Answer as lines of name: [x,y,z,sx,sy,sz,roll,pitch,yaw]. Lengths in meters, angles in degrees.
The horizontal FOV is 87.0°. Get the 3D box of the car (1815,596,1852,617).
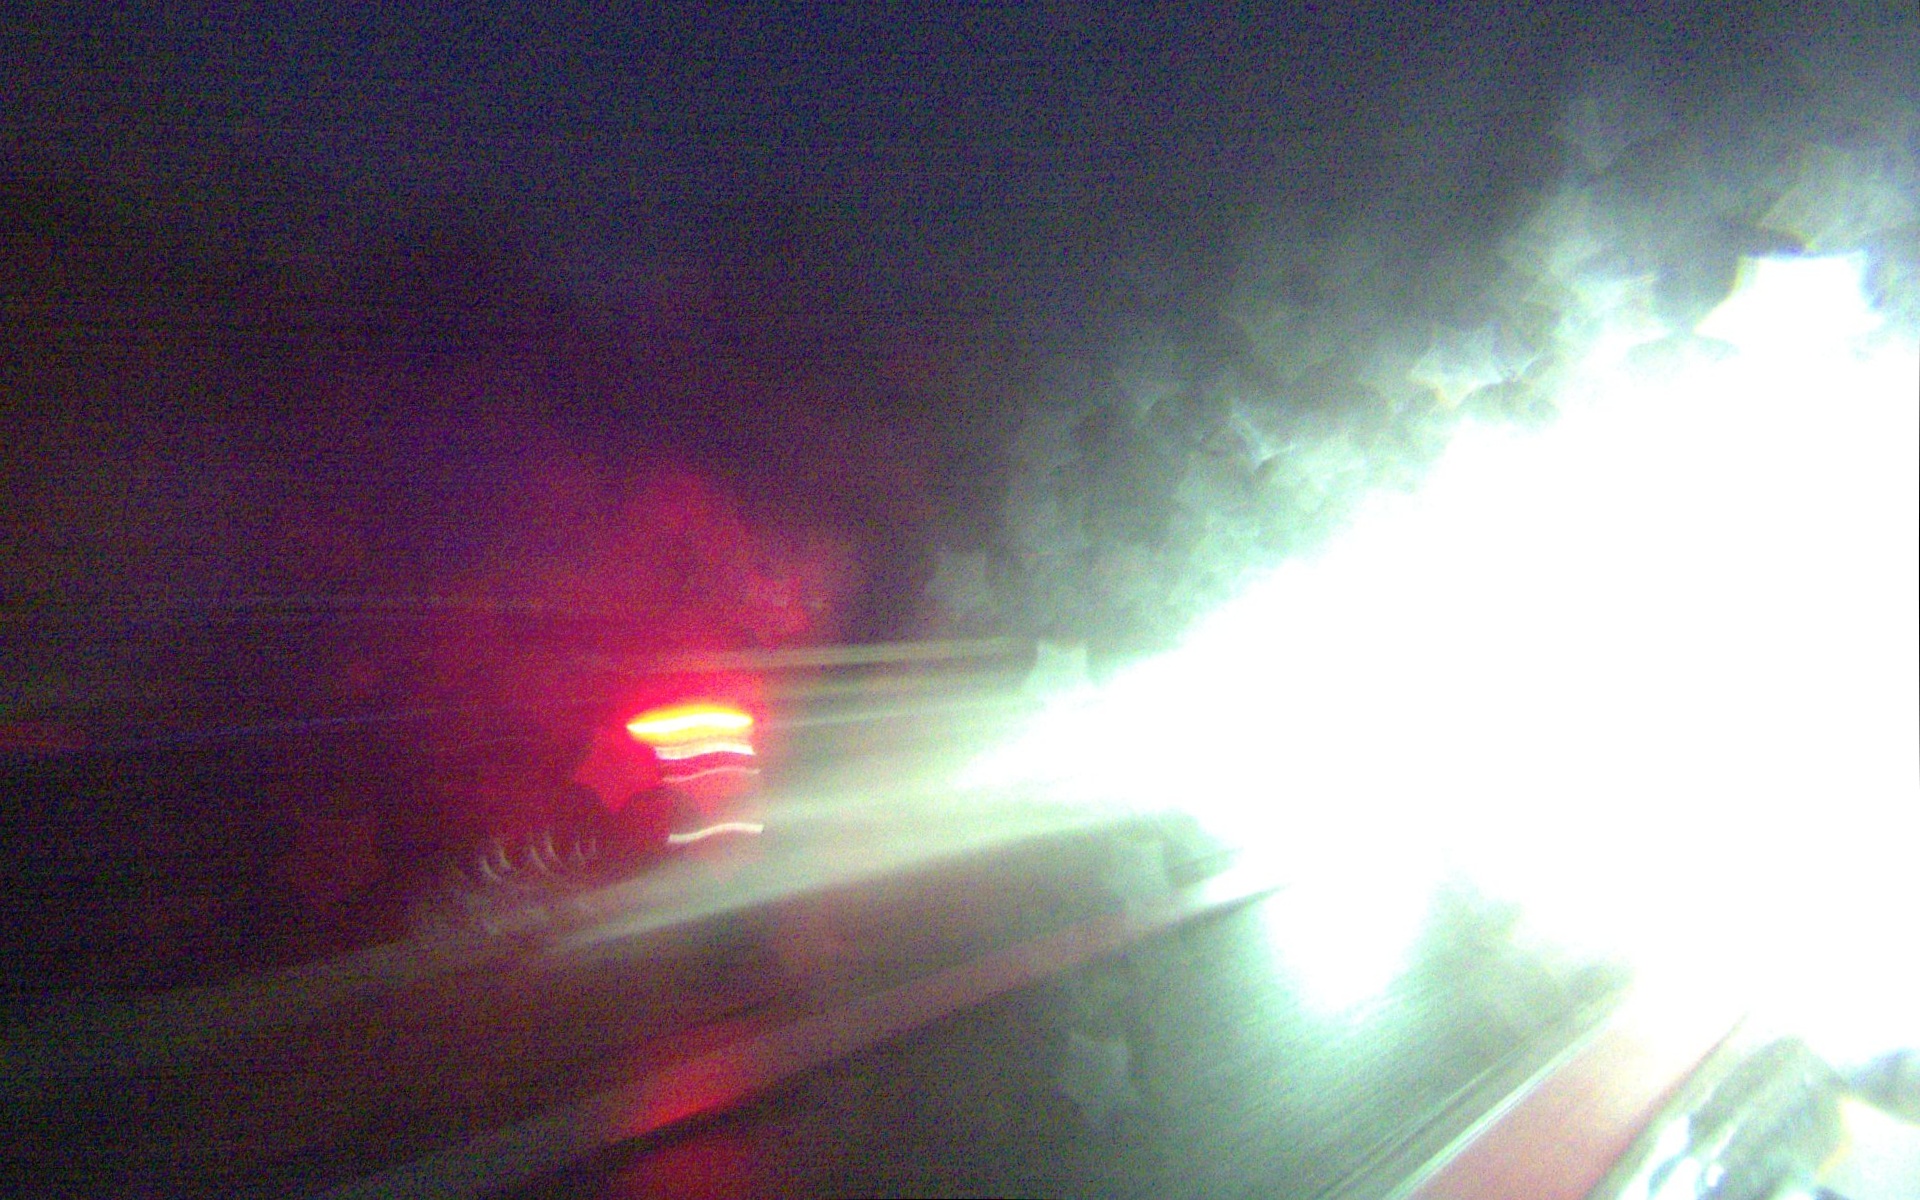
car: [59.898,0.442,69.382,1.708,1.310,3.929,5,3,43]

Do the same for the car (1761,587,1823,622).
car: [34.677,0.186,42.138,1.708,1.310,3.928,5,3,43]

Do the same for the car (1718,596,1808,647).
car: [23.798,0.619,29.934,1.708,1.310,3.928,5,3,43]

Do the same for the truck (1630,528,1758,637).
truck: [33.902,-1.024,46.419,2.760,4.272,13.613,5,6,43]

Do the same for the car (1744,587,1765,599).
car: [90.037,-0.787,114.677,1.706,1.310,3.933,5,3,40]

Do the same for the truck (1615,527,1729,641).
truck: [29.390,-0.777,41.685,2.760,4.272,6.099,5,6,43]

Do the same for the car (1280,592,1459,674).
car: [8.456,0.595,20.730,4.255,1.505,1.790,0,1,-43]

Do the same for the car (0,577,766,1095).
car: [-3.097,0.654,3.887,4.265,1.467,1.994,0,1,-45]
